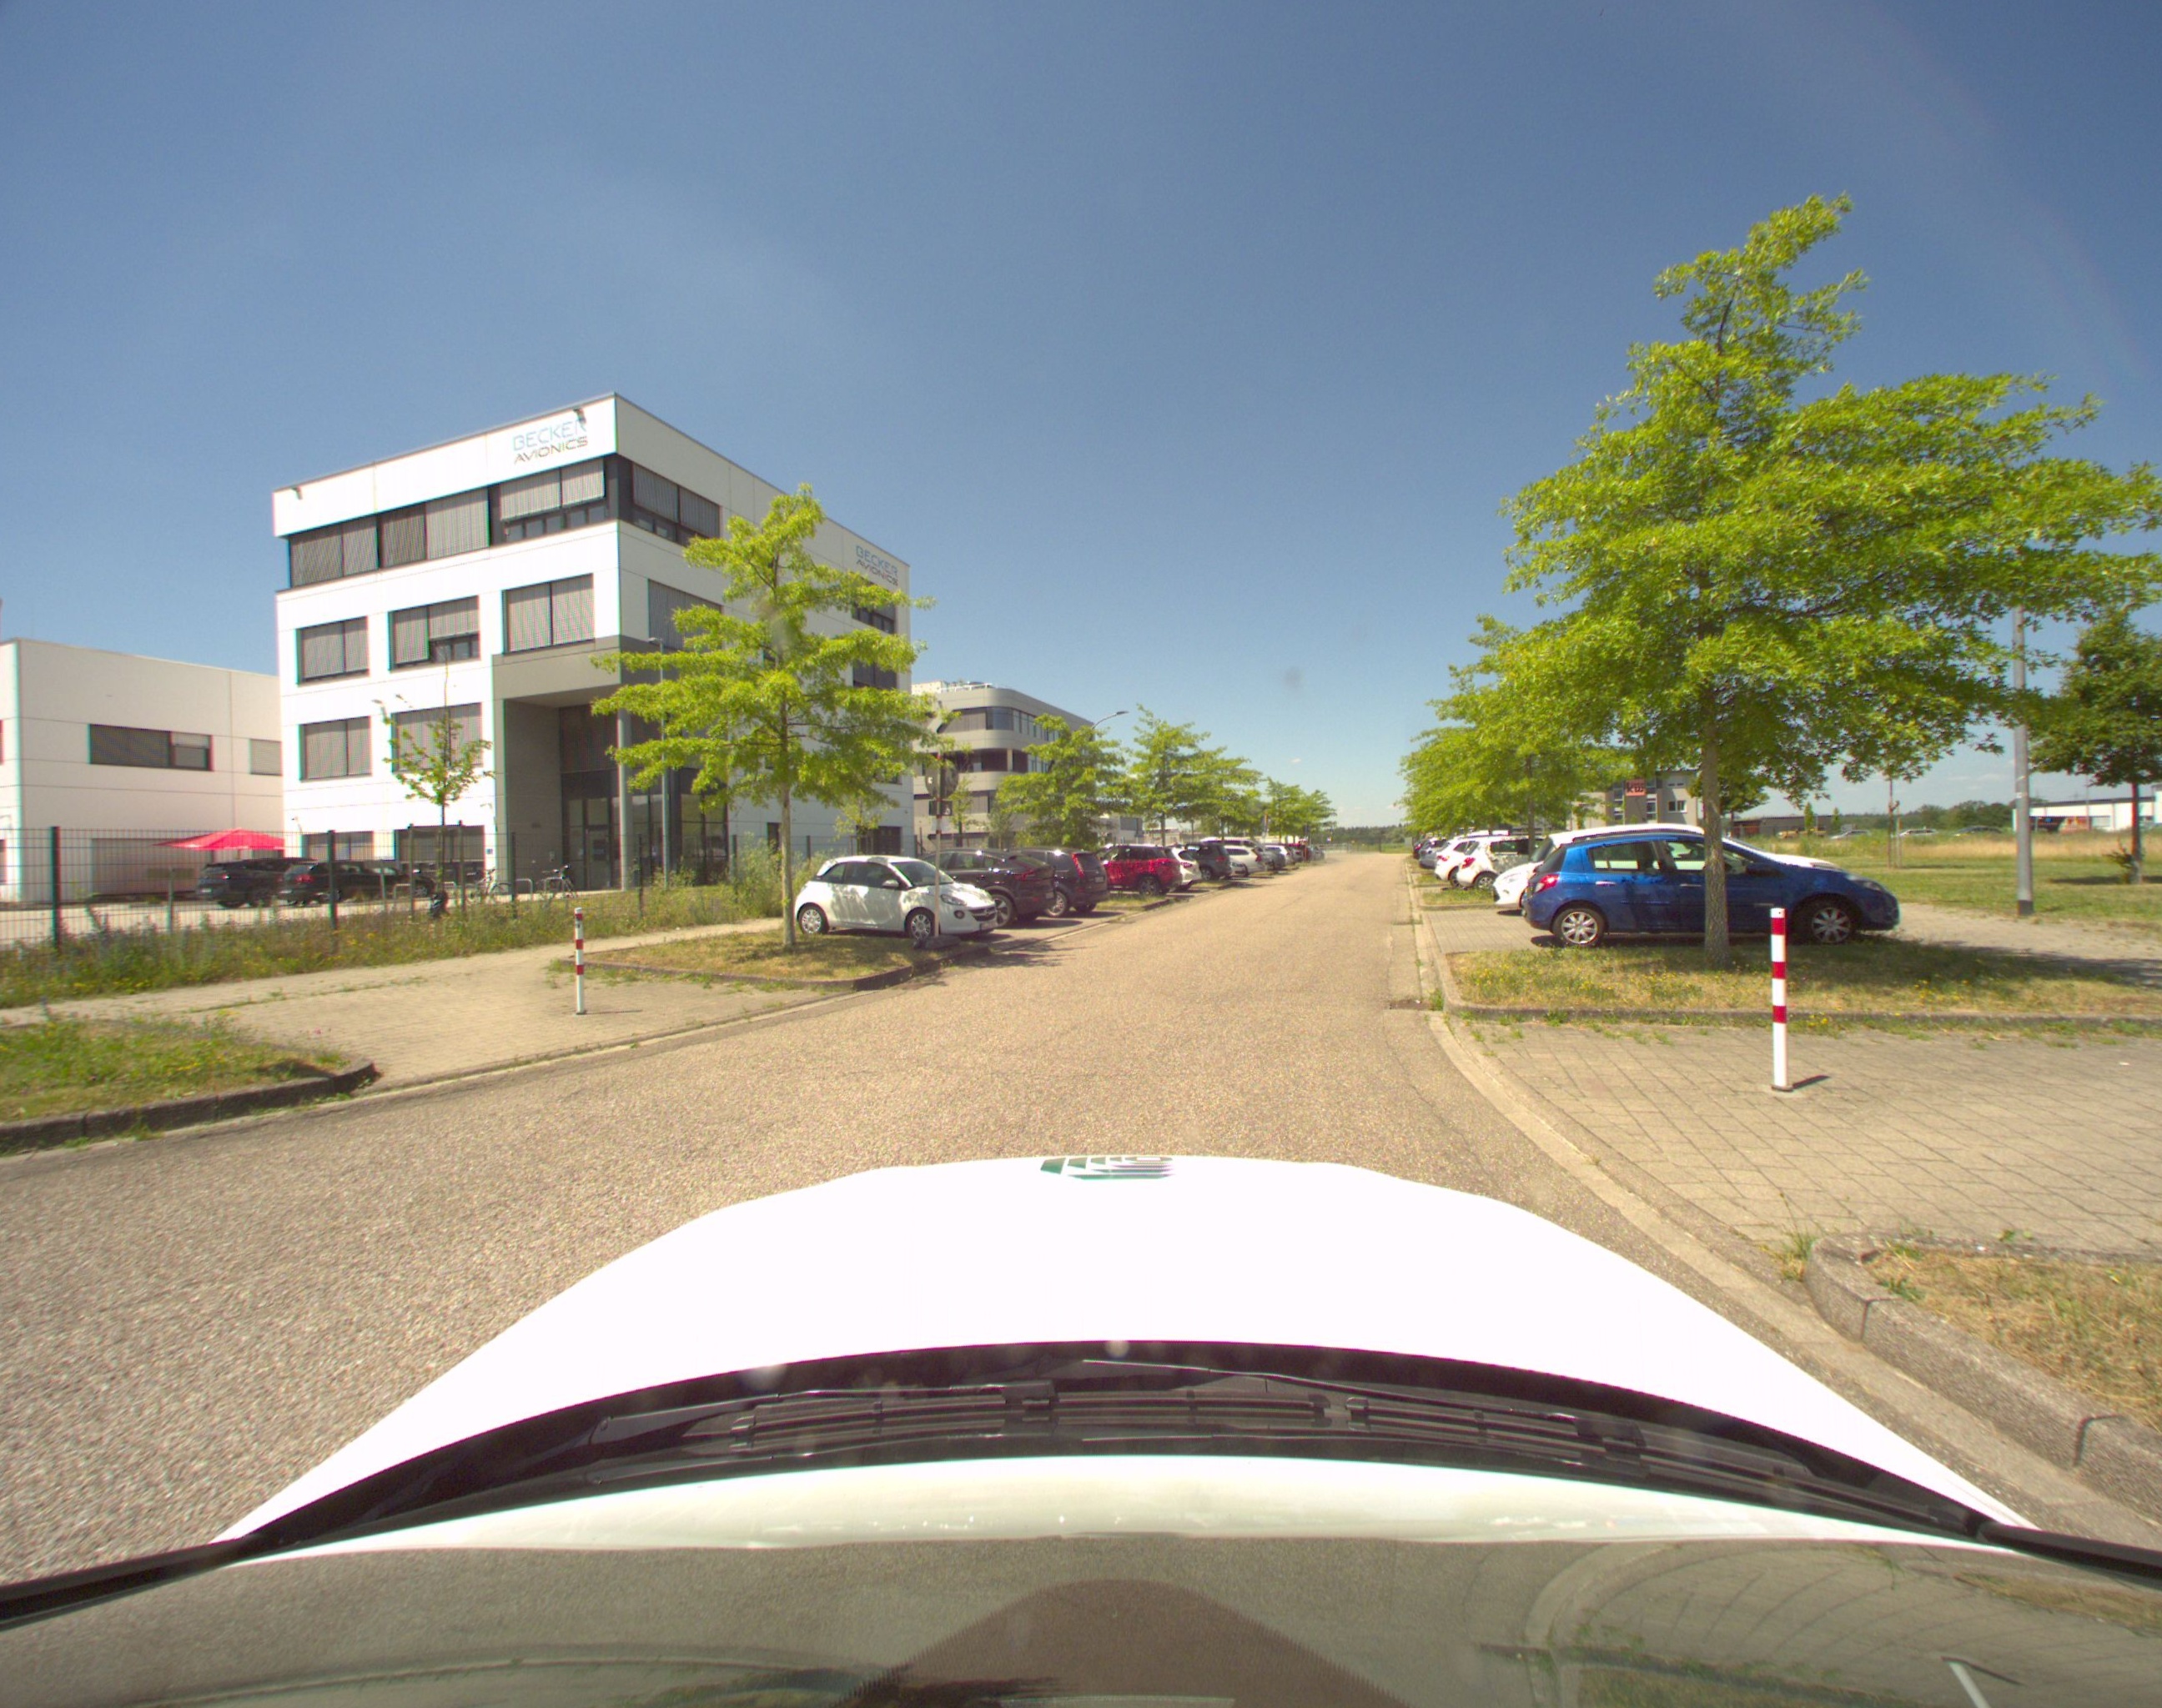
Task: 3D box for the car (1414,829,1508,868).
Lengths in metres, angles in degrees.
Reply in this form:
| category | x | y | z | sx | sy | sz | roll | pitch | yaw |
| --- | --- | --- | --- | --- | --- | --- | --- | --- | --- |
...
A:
| category | x | y | z | sx | sy | sz | roll | pitch | yaw |
| --- | --- | --- | --- | --- | --- | --- | --- | --- | --- |
| car | 20.259 | -0.289 | 43.599 | 4.364 | 1.830 | 1.805 | -3 | -1 | 22 |

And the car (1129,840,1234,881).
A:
| category | x | y | z | sx | sy | sz | roll | pitch | yaw |
| --- | --- | --- | --- | --- | --- | --- | --- | --- | --- |
| car | 4.234 | 0.243 | 34.235 | 4.083 | 1.634 | 1.736 | 0 | 1 | 20 |

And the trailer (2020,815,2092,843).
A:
| category | x | y | z | sx | sy | sz | roll | pitch | yaw |
| --- | --- | --- | --- | --- | --- | --- | --- | --- | --- |
| trailer | 97.475 | -2.506 | 81.467 | 3.953 | 2.600 | 2.244 | -2 | 0 | 20 |

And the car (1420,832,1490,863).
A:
| category | x | y | z | sx | sy | sz | roll | pitch | yaw |
| --- | --- | --- | --- | --- | --- | --- | --- | --- | --- |
| car | 23.609 | -0.409 | 51.542 | 3.842 | 1.678 | 1.792 | -3 | -1 | 21 |

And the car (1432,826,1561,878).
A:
| category | x | y | z | sx | sy | sz | roll | pitch | yaw |
| --- | --- | --- | --- | --- | --- | --- | --- | --- | --- |
| car | 15.166 | -0.056 | 29.936 | 4.011 | 1.625 | 1.702 | -3 | -1 | 22 |

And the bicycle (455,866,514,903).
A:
| category | x | y | z | sx | sy | sz | roll | pitch | yaw |
| --- | --- | --- | --- | --- | --- | --- | --- | --- | --- |
| bicycle | -16.603 | 0.860 | 22.665 | 1.578 | 0.982 | 0.464 | -2 | 0 | 19 |

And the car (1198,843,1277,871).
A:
| category | x | y | z | sx | sy | sz | roll | pitch | yaw |
| --- | --- | --- | --- | --- | --- | --- | --- | --- | --- |
| car | 8.577 | 0.141 | 44.618 | 3.935 | 1.484 | 1.773 | 1 | 1 | 21 |

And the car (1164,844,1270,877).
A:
| category | x | y | z | sx | sy | sz | roll | pitch | yaw |
| --- | --- | --- | --- | --- | --- | --- | --- | --- | --- |
| car | 6.415 | 0.281 | 38.329 | 4.675 | 1.447 | 1.866 | 0 | 1 | 18 |

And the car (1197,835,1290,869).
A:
| category | x | y | z | sx | sy | sz | roll | pitch | yaw |
| --- | --- | --- | --- | --- | --- | --- | --- | --- | --- |
| car | 9.489 | -0.116 | 47.583 | 5.025 | 1.891 | 2.008 | 0 | 1 | 22 |

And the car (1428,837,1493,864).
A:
| category | x | y | z | sx | sy | sz | roll | pitch | yaw |
| --- | --- | --- | --- | --- | --- | --- | --- | --- | --- |
| car | 22.961 | -0.232 | 49.397 | 3.428 | 1.417 | 1.764 | -3 | -1 | 21 |

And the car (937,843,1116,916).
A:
| category | x | y | z | sx | sy | sz | roll | pitch | yaw |
| --- | --- | --- | --- | --- | --- | --- | --- | --- | --- |
| car | -1.285 | 0.553 | 19.449 | 3.873 | 1.591 | 1.736 | 0 | 1 | 20 |

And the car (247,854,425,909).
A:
| category | x | y | z | sx | sy | sz | roll | pitch | yaw |
| --- | --- | --- | --- | --- | --- | --- | --- | --- | --- |
| car | -24.883 | 0.874 | 27.388 | 1.761 | 1.602 | 4.020 | -2 | 0 | 20 |

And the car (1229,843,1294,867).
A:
| category | x | y | z | sx | sy | sz | roll | pitch | yaw |
| --- | --- | --- | --- | --- | --- | --- | --- | --- | --- |
| car | 11.798 | 0.061 | 53.144 | 4.005 | 1.460 | 1.612 | 1 | 1 | 18 |

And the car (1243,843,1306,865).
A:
| category | x | y | z | sx | sy | sz | roll | pitch | yaw |
| --- | --- | --- | --- | --- | --- | --- | --- | --- | --- |
| car | 13.737 | 0.005 | 57.899 | 4.157 | 1.480 | 1.722 | 1 | 1 | 21 |

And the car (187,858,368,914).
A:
| category | x | y | z | sx | sy | sz | roll | pitch | yaw |
| --- | --- | --- | --- | --- | --- | --- | --- | --- | --- |
| car | -27.548 | 1.042 | 28.087 | 1.761 | 1.684 | 4.020 | -2 | 0 | 20 |

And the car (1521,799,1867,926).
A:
| category | x | y | z | sx | sy | sz | roll | pitch | yaw |
| --- | --- | --- | --- | --- | --- | --- | --- | --- | --- |
| car | 9.462 | 0.168 | 13.051 | 4.071 | 1.650 | 1.785 | -4 | 0 | 26 |

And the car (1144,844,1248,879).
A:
| category | x | y | z | sx | sy | sz | roll | pitch | yaw |
| --- | --- | --- | --- | --- | --- | --- | --- | --- | --- |
| car | 5.116 | 0.294 | 36.198 | 4.276 | 1.473 | 1.736 | 0 | 1 | 19 |

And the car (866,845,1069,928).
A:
| category | x | y | z | sx | sy | sz | roll | pitch | yaw |
| --- | --- | --- | --- | --- | --- | --- | --- | --- | --- |
| car | -2.367 | 0.608 | 17.213 | 3.807 | 1.593 | 1.838 | 0 | 1 | 18 |

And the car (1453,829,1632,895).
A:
| category | x | y | z | sx | sy | sz | roll | pitch | yaw |
| --- | --- | --- | --- | --- | --- | --- | --- | --- | --- |
| car | 11.884 | 0.205 | 21.277 | 3.801 | 1.524 | 1.789 | -2 | 0 | 21 |

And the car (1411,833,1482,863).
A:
| category | x | y | z | sx | sy | sz | roll | pitch | yaw |
| --- | --- | --- | --- | --- | --- | --- | --- | --- | --- |
| car | 24.270 | -0.396 | 54.205 | 4.138 | 1.696 | 1.791 | -3 | -1 | 20 |

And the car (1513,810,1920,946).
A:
| category | x | y | z | sx | sy | sz | roll | pitch | yaw |
| --- | --- | --- | --- | --- | --- | --- | --- | --- | --- |
| car | 8.162 | 0.344 | 10.983 | 3.959 | 1.490 | 1.738 | -4 | 0 | 25 |

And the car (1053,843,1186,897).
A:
| category | x | y | z | sx | sy | sz | roll | pitch | yaw |
| --- | --- | --- | --- | --- | --- | --- | --- | --- | --- |
| car | 1.223 | 0.455 | 25.561 | 3.807 | 1.591 | 1.736 | 0 | 1 | 19 |

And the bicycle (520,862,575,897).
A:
| category | x | y | z | sx | sy | sz | roll | pitch | yaw |
| --- | --- | --- | --- | --- | --- | --- | --- | --- | --- |
| bicycle | -16.049 | 0.769 | 24.497 | 1.578 | 0.982 | 0.464 | -2 | 0 | 19 |

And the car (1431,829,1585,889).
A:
| category | x | y | z | sx | sy | sz | roll | pitch | yaw |
| --- | --- | --- | --- | --- | --- | --- | --- | --- | --- |
| car | 12.367 | 0.154 | 23.783 | 3.799 | 1.553 | 1.790 | -2 | 1 | 27 |

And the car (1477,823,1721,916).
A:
| category | x | y | z | sx | sy | sz | roll | pitch | yaw |
| --- | --- | --- | --- | --- | --- | --- | --- | --- | --- |
| car | 9.817 | 0.293 | 15.728 | 3.589 | 1.463 | 1.618 | -4 | 0 | 16 |

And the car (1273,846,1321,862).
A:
| category | x | y | z | sx | sy | sz | roll | pitch | yaw |
| --- | --- | --- | --- | --- | --- | --- | --- | --- | --- |
| car | 19.314 | -0.024 | 72.754 | 4.043 | 1.424 | 1.882 | 0 | 1 | 17 |

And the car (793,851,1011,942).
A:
| category | x | y | z | sx | sy | sz | roll | pitch | yaw |
| --- | --- | --- | --- | --- | --- | --- | --- | --- | --- |
| car | -3.230 | 0.698 | 14.823 | 3.475 | 1.441 | 1.736 | 0 | 1 | 20 |

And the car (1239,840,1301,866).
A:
| category | x | y | z | sx | sy | sz | roll | pitch | yaw |
| --- | --- | --- | --- | --- | --- | --- | --- | --- | --- |
| car | 12.881 | -0.062 | 55.405 | 3.956 | 1.678 | 1.785 | 1 | 1 | 16 |

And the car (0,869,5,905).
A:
| category | x | y | z | sx | sy | sz | roll | pitch | yaw |
| --- | --- | --- | --- | --- | --- | --- | --- | --- | --- |
| car | -41.790 | 1.294 | 28.677 | 1.761 | 1.339 | 4.360 | -2 | 0 | 20 |

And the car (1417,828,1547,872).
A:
| category | x | y | z | sx | sy | sz | roll | pitch | yaw |
| --- | --- | --- | --- | --- | --- | --- | --- | --- | --- |
| car | 16.987 | -0.142 | 34.763 | 4.678 | 1.561 | 1.922 | -3 | -1 | 17 |

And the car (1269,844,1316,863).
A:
| category | x | y | z | sx | sy | sz | roll | pitch | yaw |
| --- | --- | --- | --- | --- | --- | --- | --- | --- | --- |
| car | 17.195 | -0.049 | 66.193 | 3.627 | 1.508 | 1.739 | 0 | 1 | 17 |

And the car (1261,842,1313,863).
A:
| category | x | y | z | sx | sy | sz | roll | pitch | yaw |
| --- | --- | --- | --- | --- | --- | --- | --- | --- | --- |
| car | 16.155 | -0.150 | 63.776 | 3.705 | 1.621 | 1.826 | 0 | 1 | 22 |

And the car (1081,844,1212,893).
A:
| category | x | y | z | sx | sy | sz | roll | pitch | yaw |
| --- | --- | --- | --- | --- | --- | --- | --- | --- | --- |
| car | 2.250 | 0.444 | 28.125 | 4.135 | 1.513 | 1.817 | 1 | 2 | 22 |
